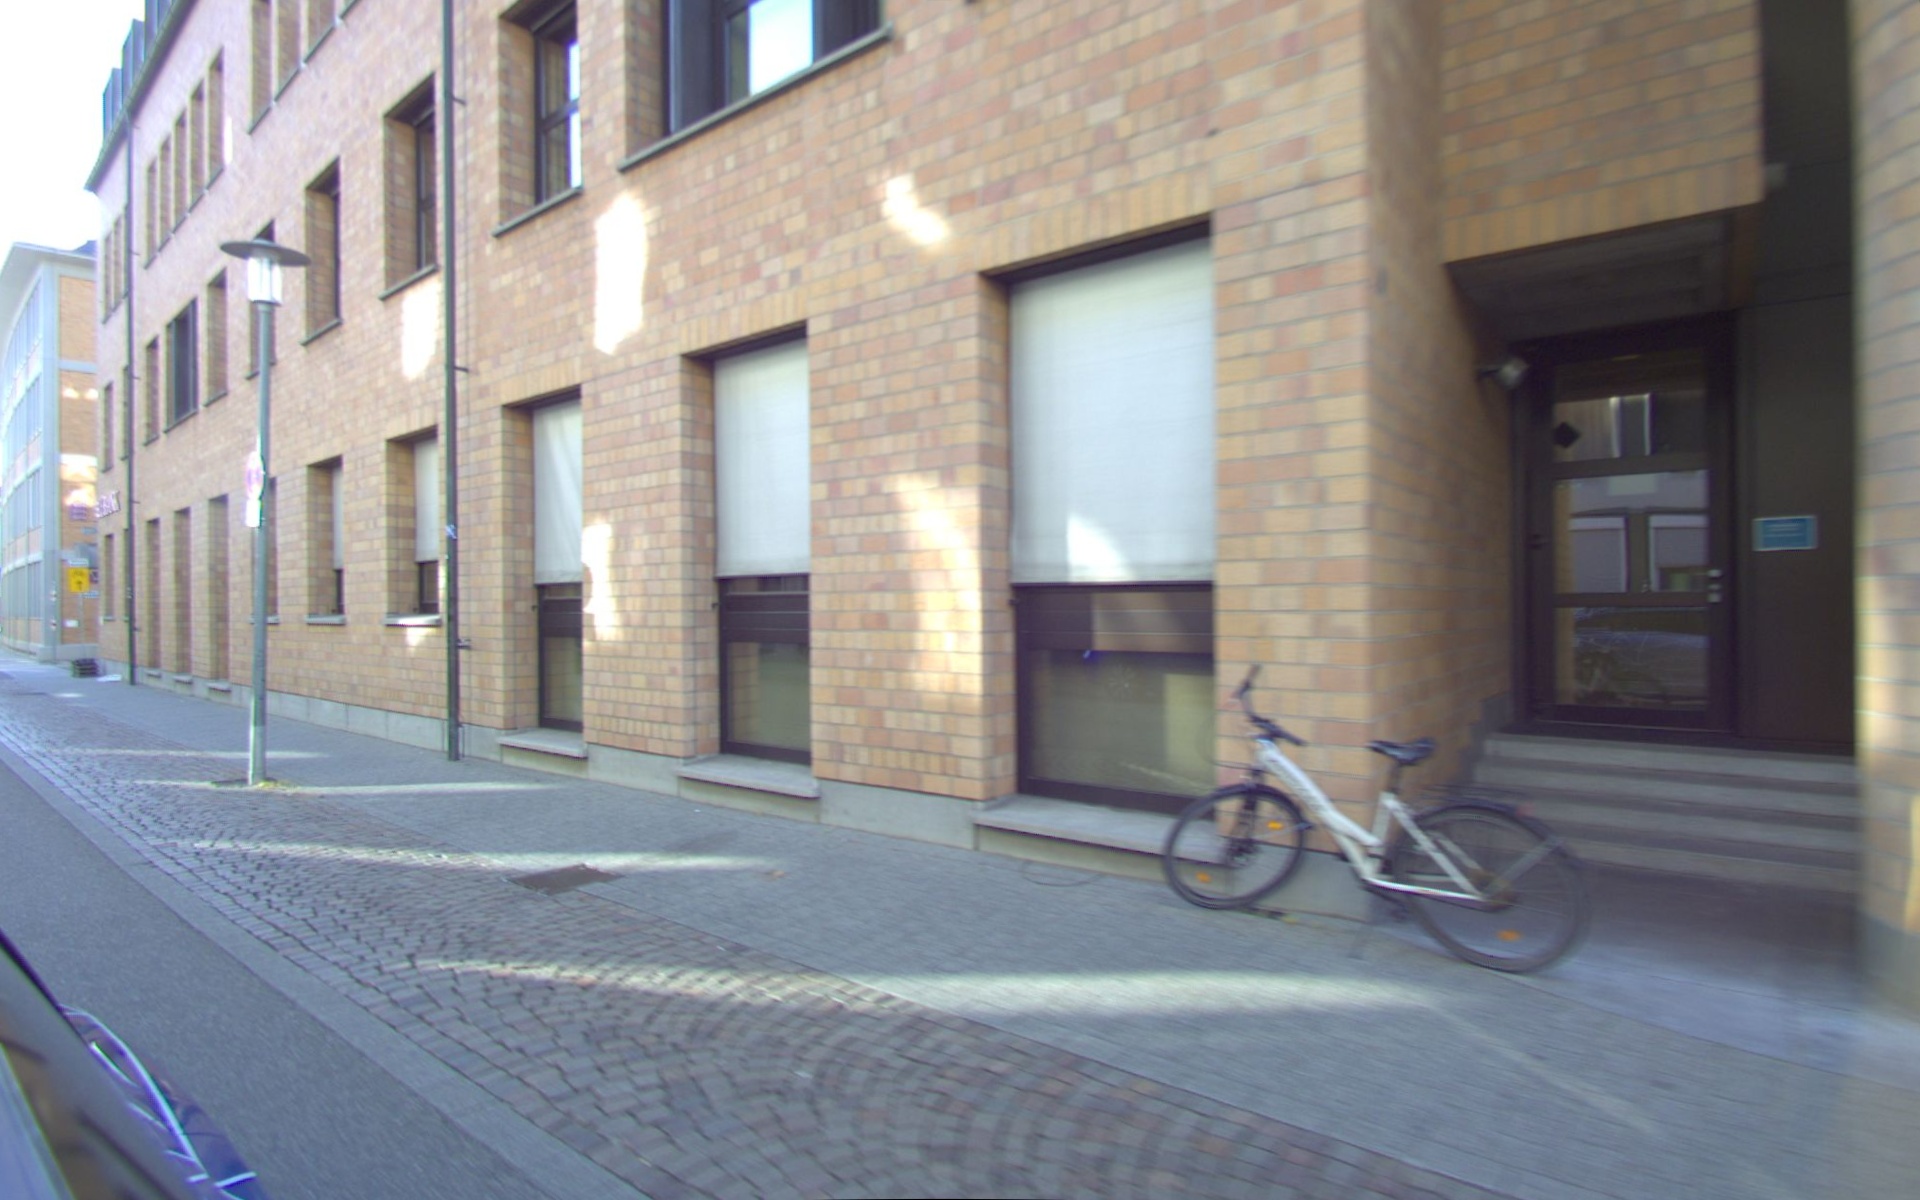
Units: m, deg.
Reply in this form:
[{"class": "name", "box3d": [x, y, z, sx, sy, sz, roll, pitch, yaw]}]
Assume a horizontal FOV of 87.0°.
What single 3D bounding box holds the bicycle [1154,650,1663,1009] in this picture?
[{"class": "bicycle", "box3d": [1.792, 0.823, 4.211, 1.798, 1.171, 0.626, -2, 2, 32]}]
